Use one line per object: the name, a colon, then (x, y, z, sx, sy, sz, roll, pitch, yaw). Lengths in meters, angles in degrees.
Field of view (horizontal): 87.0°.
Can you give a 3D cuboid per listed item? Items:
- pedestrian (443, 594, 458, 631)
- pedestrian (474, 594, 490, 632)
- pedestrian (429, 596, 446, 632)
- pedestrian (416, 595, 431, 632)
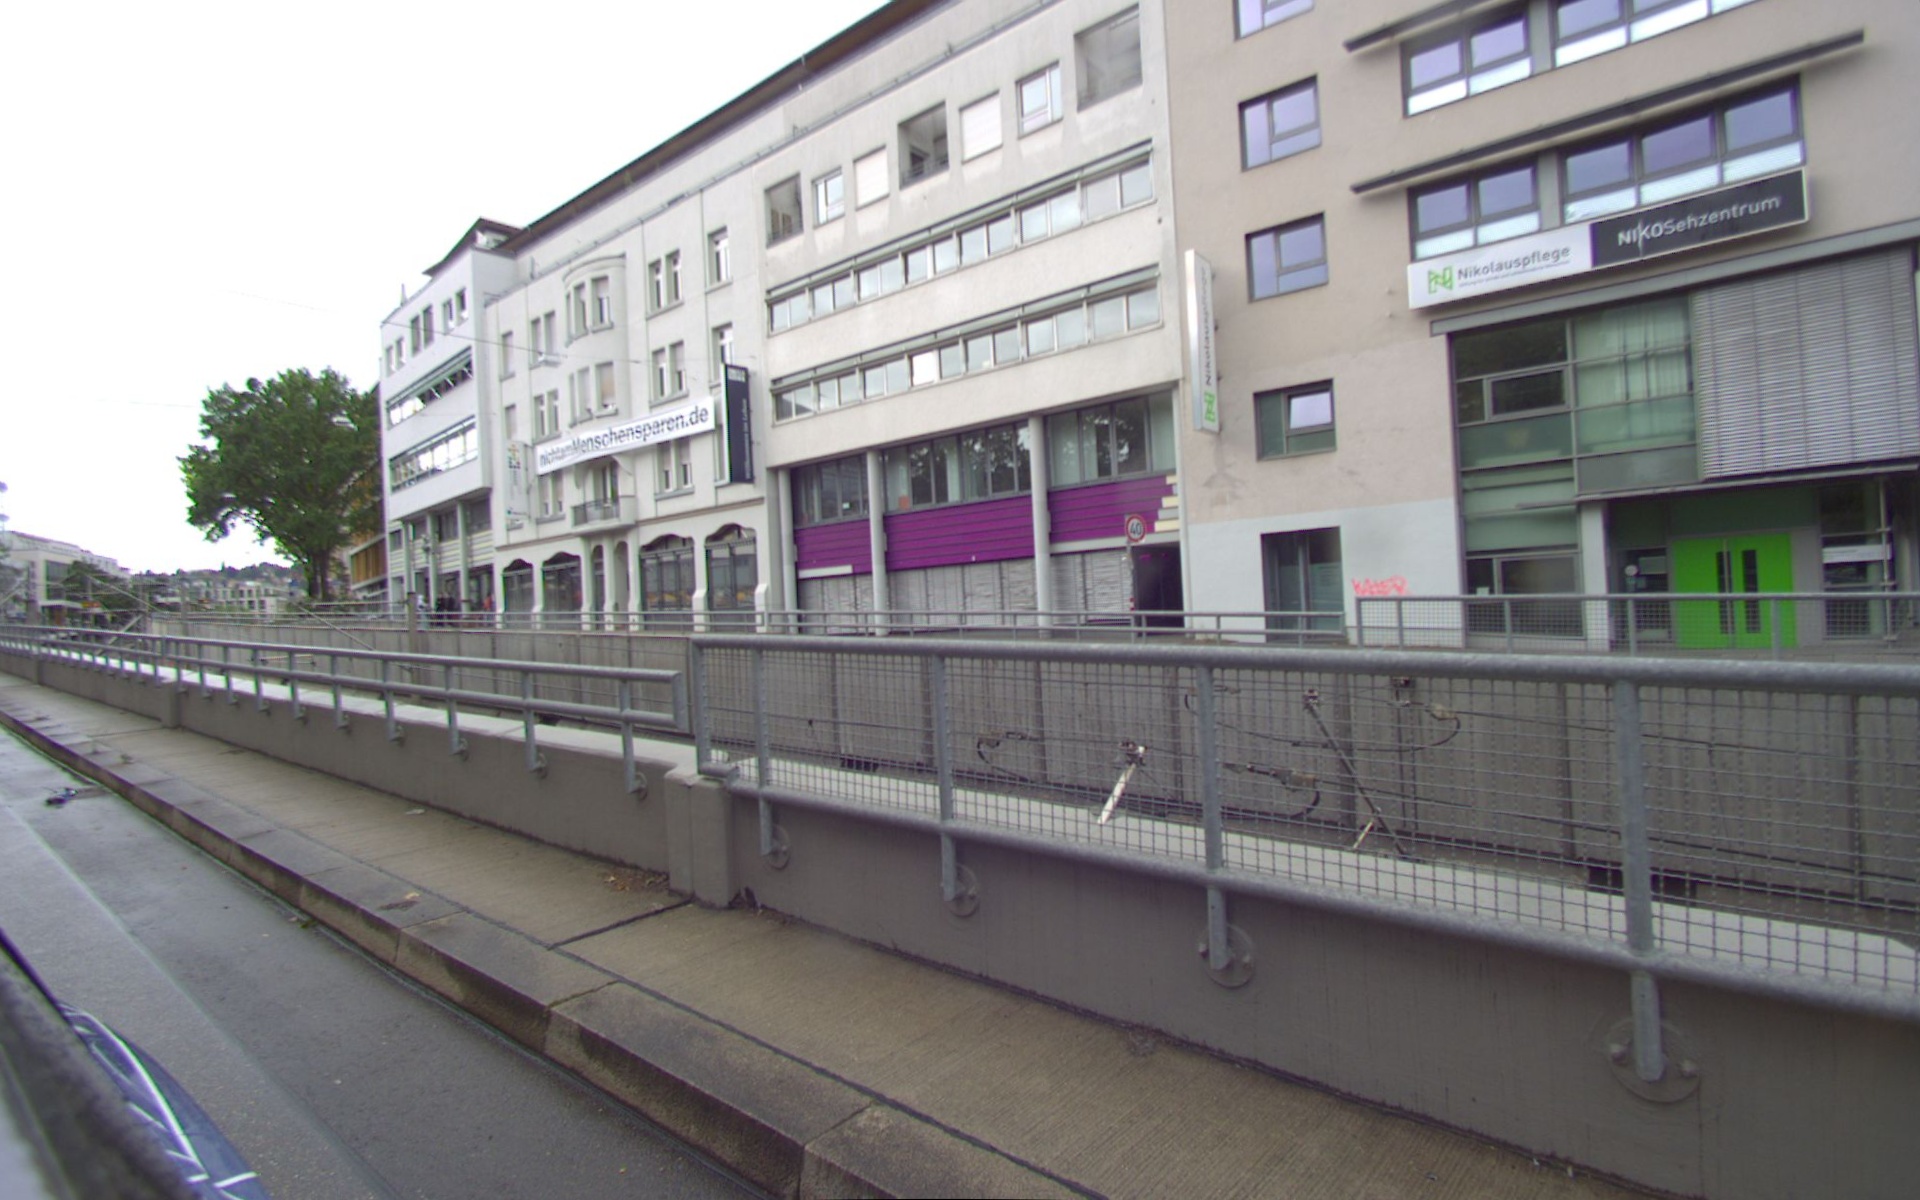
pedestrian: (-25.421, 0.621, 50.484, 0.547, 1.816, 0.463, -2, 1, 44)
pedestrian: (-23.030, 0.624, 48.762, 0.547, 1.816, 0.464, -1, 1, 40)
pedestrian: (-26.436, 0.721, 51.233, 0.469, 1.816, 0.541, -2, 1, 33)
pedestrian: (-26.770, 0.666, 50.506, 0.463, 1.816, 0.548, -3, 1, -42)
